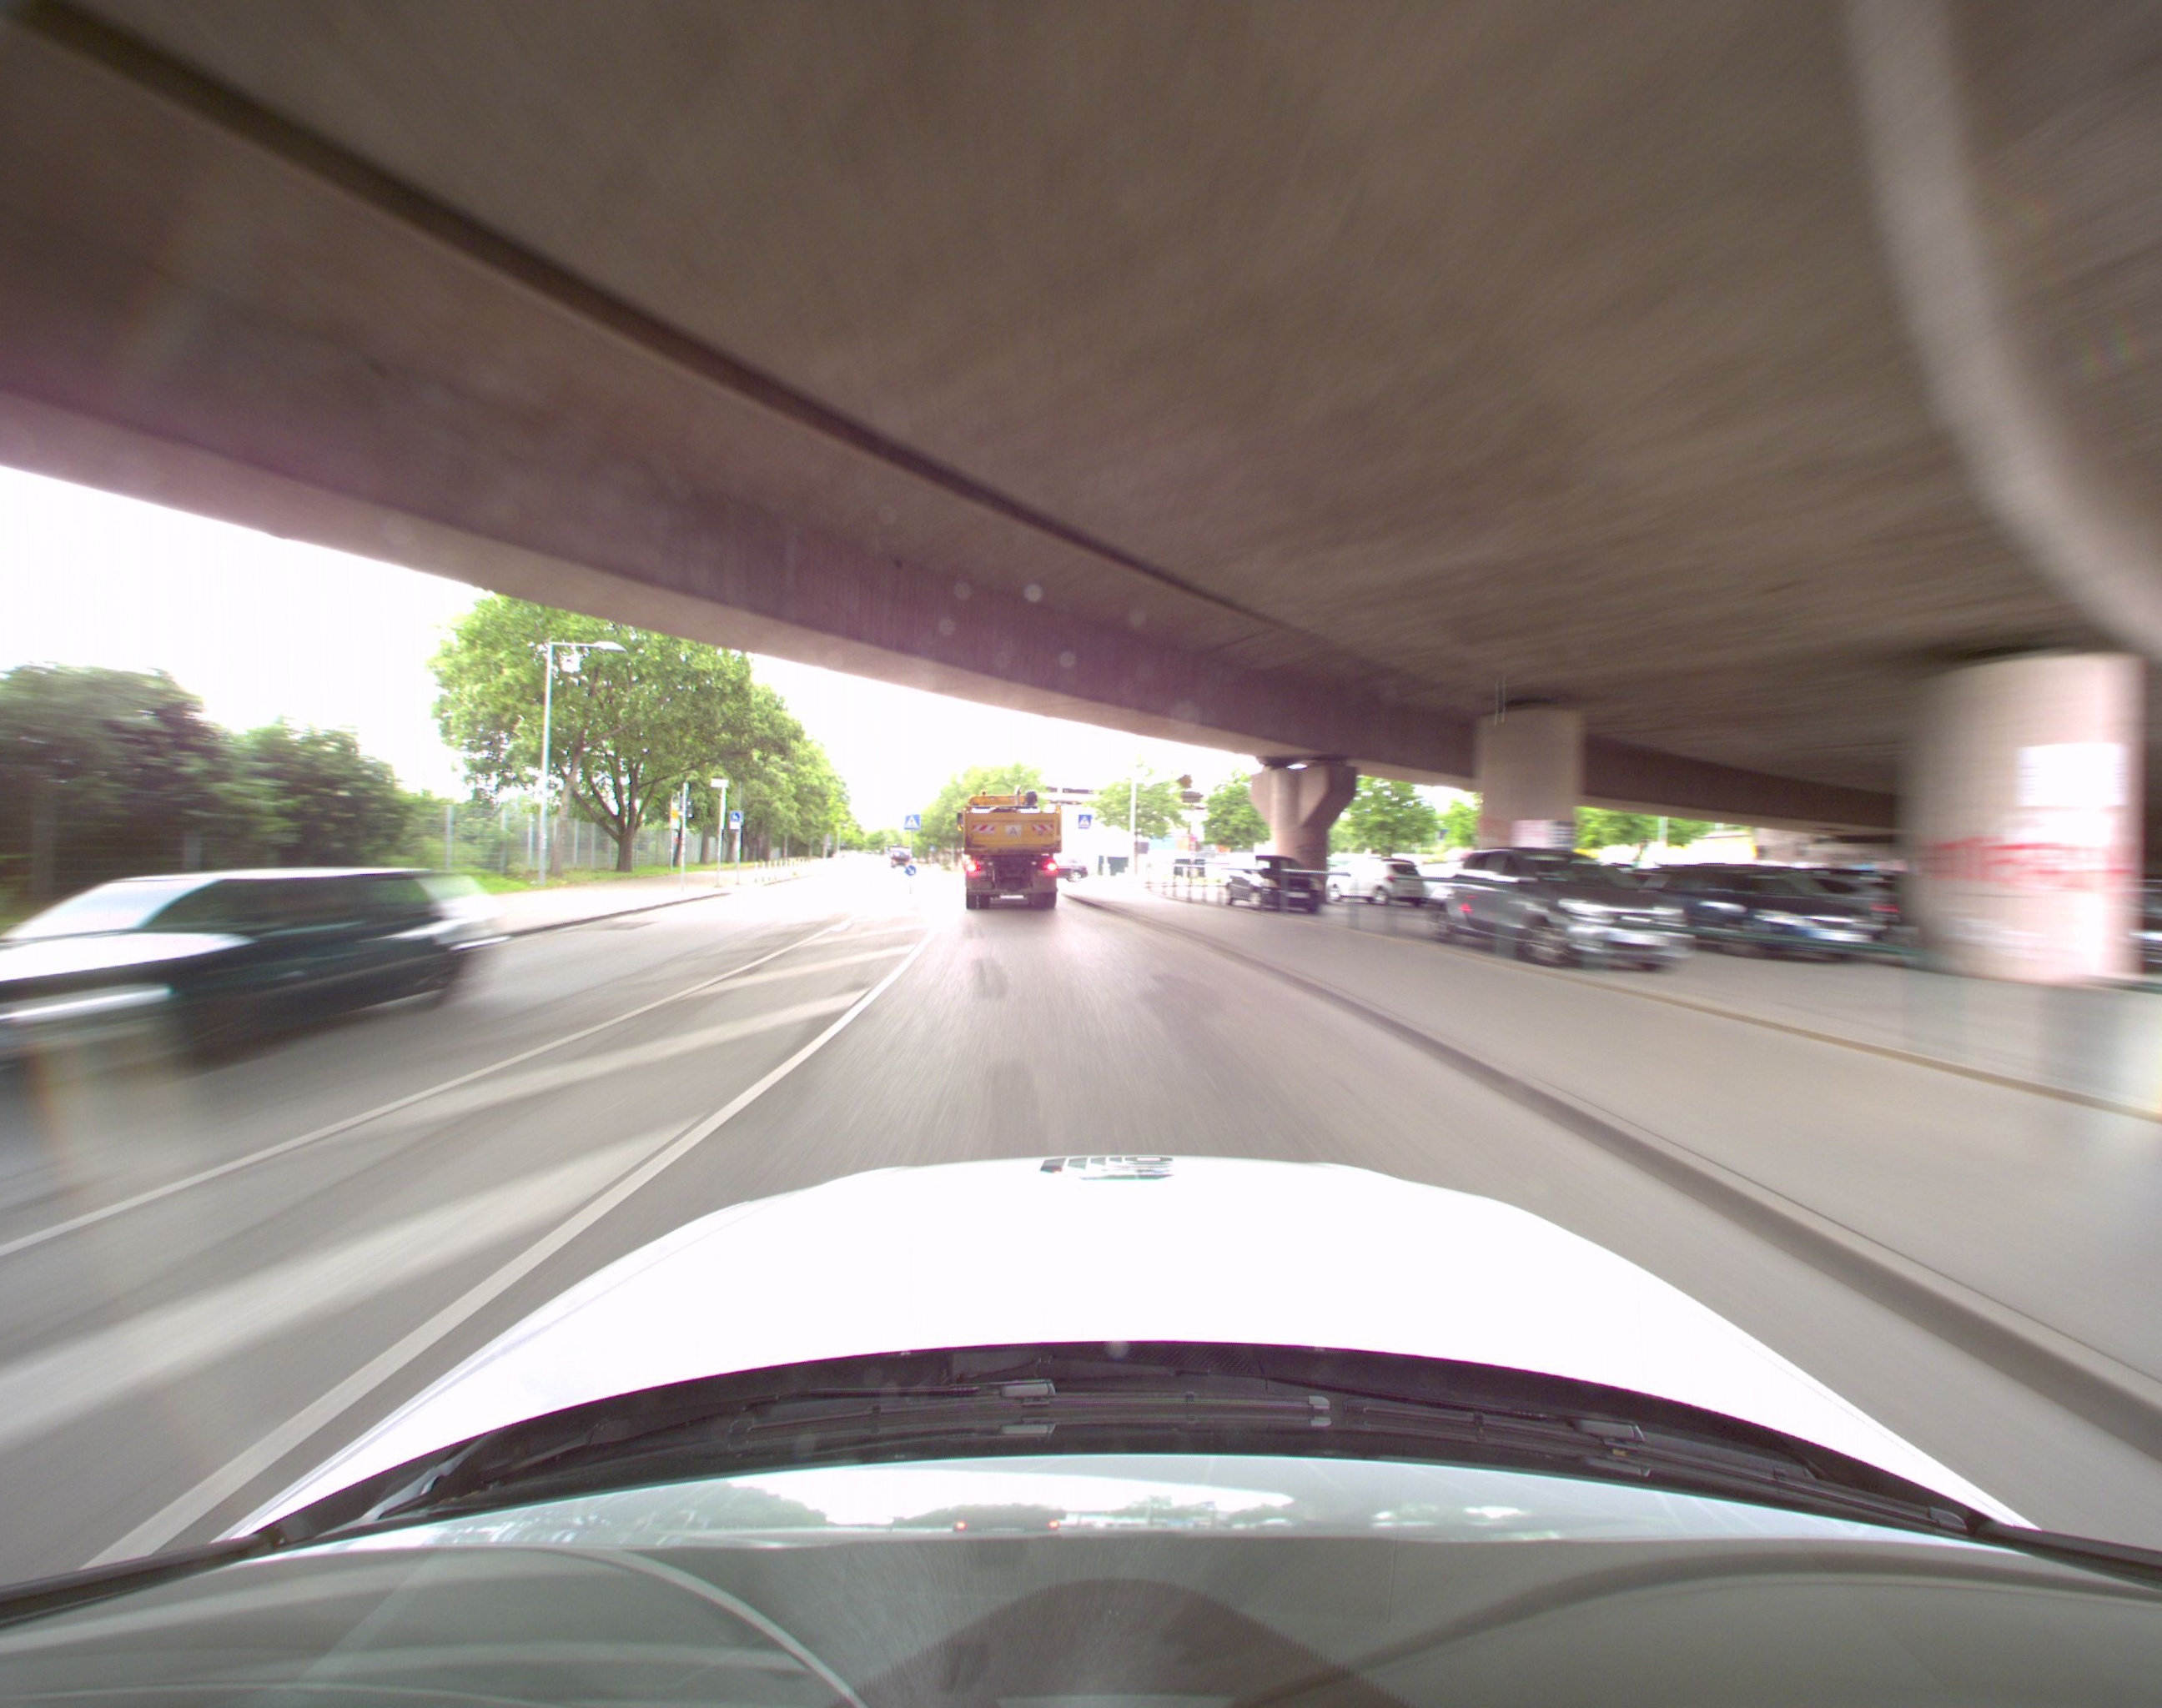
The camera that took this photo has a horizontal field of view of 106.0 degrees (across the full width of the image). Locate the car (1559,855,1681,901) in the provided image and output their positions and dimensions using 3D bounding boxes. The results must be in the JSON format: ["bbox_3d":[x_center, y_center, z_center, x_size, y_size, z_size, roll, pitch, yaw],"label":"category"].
[{"bbox_3d":[21.912,0.929,33.278,1.760,1.694,3.833,1,0,-23],"label":"car"}]

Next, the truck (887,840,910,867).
[{"bbox_3d":[-25.799,-0.018,115.044,2.678,3.558,7.881,-1,-1,-15],"label":"truck"}]

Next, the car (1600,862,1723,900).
[{"bbox_3d":[24.155,1.091,34.028,1.760,1.434,3.833,1,0,-23],"label":"car"}]

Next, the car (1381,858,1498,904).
[{"bbox_3d":[13.124,0.953,30.055,1.700,1.509,3.833,1,0,-23],"label":"car"}]

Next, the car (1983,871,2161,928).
[{"bbox_3d":[29.156,1.254,23.645,1.677,1.427,3.643,1,0,-16],"label":"car"}]

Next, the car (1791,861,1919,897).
[{"bbox_3d":[35.032,1.101,36.960,1.760,1.478,3.833,1,0,-23],"label":"car"}]

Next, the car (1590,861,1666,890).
[{"bbox_3d":[28.806,1.128,42.878,3.374,1.440,1.570,1,0,-17],"label":"car"}]

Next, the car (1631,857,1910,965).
[{"bbox_3d":[11.354,0.863,13.821,1.776,1.506,3.866,2,-1,7],"label":"car"}]

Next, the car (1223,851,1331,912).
[{"bbox_3d":[5.017,0.651,21.314,1.604,1.397,3.572,2,0,-6],"label":"car"}]

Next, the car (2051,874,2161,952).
[{"bbox_3d":[22.066,1.193,15.565,1.836,1.465,4.169,1,0,-16],"label":"car"}]

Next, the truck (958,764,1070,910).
[{"bbox_3d":[-2.290,-0.411,24.748,2.757,3.698,7.855,-1,-1,-9],"label":"truck"}]

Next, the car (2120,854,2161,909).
[{"bbox_3d":[36.171,0.908,25.779,1.881,1.788,3.643,1,0,-16],"label":"car"}]

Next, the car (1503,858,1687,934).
[{"bbox_3d":[11.576,0.888,18.598,1.529,1.500,3.356,3,0,-16],"label":"car"}]

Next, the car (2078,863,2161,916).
[{"bbox_3d":[34.013,1.113,25.217,1.677,1.598,3.643,1,0,-16],"label":"car"}]

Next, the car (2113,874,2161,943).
[{"bbox_3d":[24.584,1.201,16.515,1.836,1.465,4.169,1,0,-16],"label":"car"}]

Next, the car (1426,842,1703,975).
[{"bbox_3d":[6.519,0.654,11.437,1.604,1.533,3.403,2,0,-6],"label":"car"}]

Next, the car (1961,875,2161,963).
[{"bbox_3d":[19.805,1.197,15.245,1.836,1.465,4.169,1,0,-16],"label":"car"}]

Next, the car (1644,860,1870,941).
[{"bbox_3d":[16.120,1.029,19.673,1.836,1.698,3.841,1,0,-16],"label":"car"}]

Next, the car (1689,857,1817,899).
[{"bbox_3d":[28.668,0.993,34.877,1.760,1.638,3.833,1,0,-23],"label":"car"}]

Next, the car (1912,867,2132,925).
[{"bbox_3d":[27.078,1.149,23.622,1.677,1.427,3.841,1,0,-16],"label":"car"}]

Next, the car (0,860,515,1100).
[{"bbox_3d":[-7.008,0.797,7.004,1.673,1.430,3.994,1,0,-4],"label":"car"}]

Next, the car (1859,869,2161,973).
[{"bbox_3d":[17.491,1.102,15.055,1.836,1.550,4.169,1,0,-16],"label":"car"}]

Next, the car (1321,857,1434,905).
[{"bbox_3d":[10.499,0.905,29.154,1.639,1.552,3.985,1,0,-19],"label":"car"}]

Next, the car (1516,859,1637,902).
[{"bbox_3d":[19.752,0.998,32.639,1.760,1.555,3.833,1,0,-23],"label":"car"}]

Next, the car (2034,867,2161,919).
[{"bbox_3d":[31.450,1.147,24.246,1.677,1.427,3.643,1,0,-16],"label":"car"}]

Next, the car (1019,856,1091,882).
[{"bbox_3d":[-1.678,0.972,52.201,4.527,1.574,1.842,1,0,-5],"label":"car"}]

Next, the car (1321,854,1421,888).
[{"bbox_3d":[13.100,0.753,36.819,4.246,1.420,1.501,1,2,-19],"label":"car"}]

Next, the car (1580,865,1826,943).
[{"bbox_3d":[14.081,1.066,18.816,1.834,1.470,4.362,2,0,-12],"label":"car"}]

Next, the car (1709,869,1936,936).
[{"bbox_3d":[18.338,1.132,20.386,1.836,1.427,3.841,1,0,-16],"label":"car"}]

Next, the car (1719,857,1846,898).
[{"bbox_3d":[30.594,0.994,35.632,1.760,1.638,3.833,1,0,-23],"label":"car"}]
